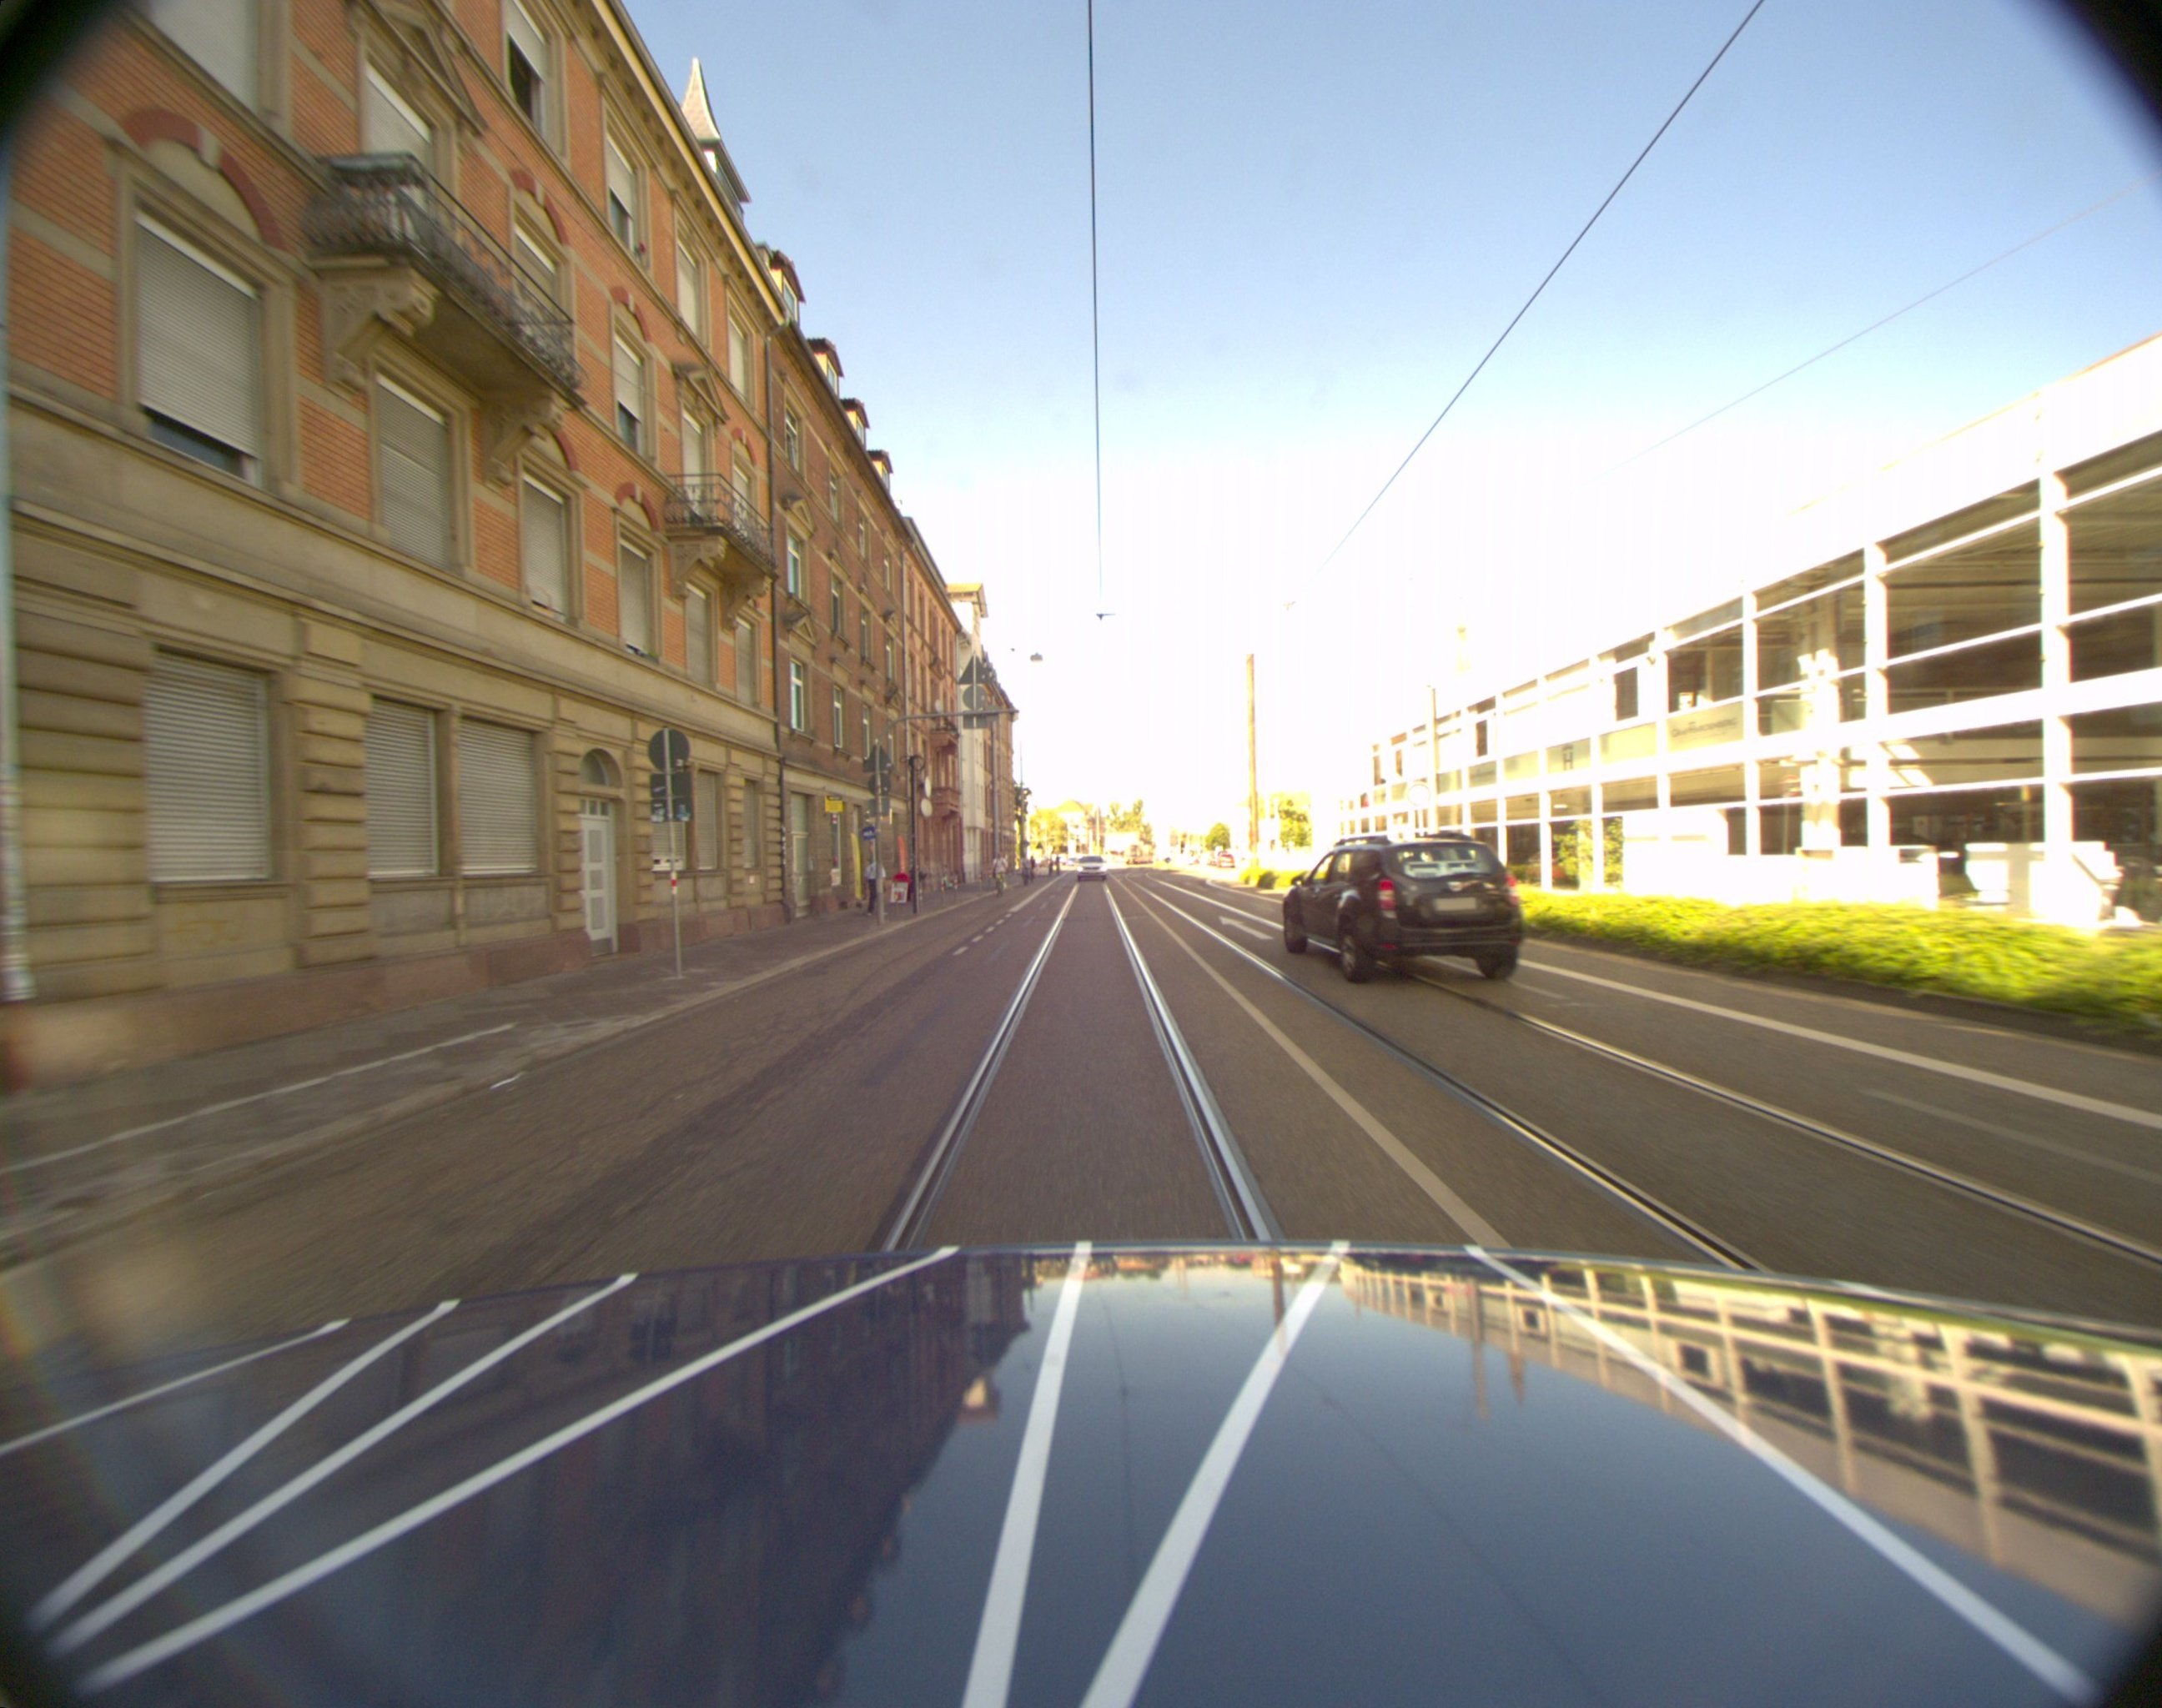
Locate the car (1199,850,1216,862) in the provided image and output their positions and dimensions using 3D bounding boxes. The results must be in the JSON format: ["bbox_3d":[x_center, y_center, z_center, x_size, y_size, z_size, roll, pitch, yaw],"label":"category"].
[{"bbox_3d":[17.464,0.247,104.933,1.807,1.424,4.000,-3,1,2],"label":"car"}]

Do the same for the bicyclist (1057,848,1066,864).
[{"bbox_3d":[-1.707,0.171,67.505,0.675,1.413,1.036,-3,1,1],"label":"bicyclist"}]

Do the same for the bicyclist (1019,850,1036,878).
[{"bbox_3d":[-3.056,0.580,43.401,0.784,1.584,0.886,-2,0,3],"label":"bicyclist"}]

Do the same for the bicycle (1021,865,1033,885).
[{"bbox_3d":[-3.059,1.193,43.269,0.387,1.063,1.934,-2,0,3],"label":"bicycle"}]

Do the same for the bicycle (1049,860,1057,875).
[{"bbox_3d":[-2.169,1.068,59.301,0.533,1.111,1.933,-3,1,1],"label":"bicycle"}]

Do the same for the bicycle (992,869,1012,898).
[{"bbox_3d":[-3.285,1.210,31.801,0.533,1.111,1.934,-2,0,1],"label":"bicycle"}]

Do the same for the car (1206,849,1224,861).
[{"bbox_3d":[17.254,0.109,97.954,1.807,1.569,4.165,-1,1,2],"label":"car"}]

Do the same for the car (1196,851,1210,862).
[{"bbox_3d":[17.657,0.343,110.084,1.653,1.470,3.971,0,0,2],"label":"car"}]

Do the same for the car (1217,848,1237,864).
[{"bbox_3d":[16.104,0.222,83.833,1.803,1.709,4.418,-1,1,7],"label":"car"}]

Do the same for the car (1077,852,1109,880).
[{"bbox_3d":[0.727,0.715,48.279,1.868,1.635,4.397,-2,0,0],"label":"car"}]

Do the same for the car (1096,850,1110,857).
[{"bbox_3d":[5.066,-0.084,176.460,1.914,1.449,4.593,-2,1,-15],"label":"car"}]

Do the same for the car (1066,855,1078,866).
[{"bbox_3d":[-1.412,0.964,120.419,1.886,1.557,4.011,-3,1,-1],"label":"car"}]

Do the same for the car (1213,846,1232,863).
[{"bbox_3d":[16.933,0.034,91.114,1.807,1.922,4.165,-1,1,3],"label":"car"}]

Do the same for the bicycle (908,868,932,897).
[{"bbox_3d":[-6.576,1.152,31.135,0.410,1.115,1.898,0,1,5],"label":"bicycle"}]

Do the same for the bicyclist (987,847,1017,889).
[{"bbox_3d":[-3.317,0.583,31.889,0.681,1.674,1.122,-3,1,25],"label":"bicyclist"}]

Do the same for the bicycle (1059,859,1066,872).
[{"bbox_3d":[-1.648,1.031,67.611,0.533,1.152,1.865,-2,0,0],"label":"bicycle"}]

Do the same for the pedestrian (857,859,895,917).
[{"bbox_3d":[-5.771,0.953,21.432,0.800,1.596,0.652,-2,1,3],"label":"pedestrian"}]

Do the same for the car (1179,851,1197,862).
[{"bbox_3d":[14.864,0.362,105.733,1.807,1.424,4.540,-3,1,2],"label":"car"}]

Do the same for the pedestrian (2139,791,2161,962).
[{"bbox_3d":[11.315,0.227,7.401,0.528,1.754,1.051,-3,1,1],"label":"pedestrian"}]

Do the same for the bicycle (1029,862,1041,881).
[{"bbox_3d":[-2.903,1.087,48.389,0.533,1.111,1.933,-1,1,2],"label":"bicycle"}]

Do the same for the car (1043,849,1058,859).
[{"bbox_3d":[-8.506,0.092,209.030,2.246,2.665,5.296,-4,1,-23],"label":"car"}]

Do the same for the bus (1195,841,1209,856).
[{"bbox_3d":[31.896,-1.512,200.354,2.846,3.104,11.826,-3,2,12],"label":"bus"}]

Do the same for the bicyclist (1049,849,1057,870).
[{"bbox_3d":[-2.200,0.450,59.501,0.551,1.604,0.953,-3,1,0],"label":"bicyclist"}]

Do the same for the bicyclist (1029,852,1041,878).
[{"bbox_3d":[-2.935,0.677,48.519,0.625,1.604,0.981,-3,1,2],"label":"bicyclist"}]

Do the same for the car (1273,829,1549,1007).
[{"bbox_3d":[3.807,0.610,9.632,1.763,1.687,4.144,-3,1,2],"label":"car"}]

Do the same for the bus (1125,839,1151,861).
[{"bbox_3d":[9.975,-0.723,131.943,2.845,3.568,11.280,-2,0,12],"label":"bus"}]

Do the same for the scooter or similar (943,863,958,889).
[{"bbox_3d":[-6.396,1.059,37.238,0.407,1.204,1.480,0,1,2],"label":"scooter or similar"}]
